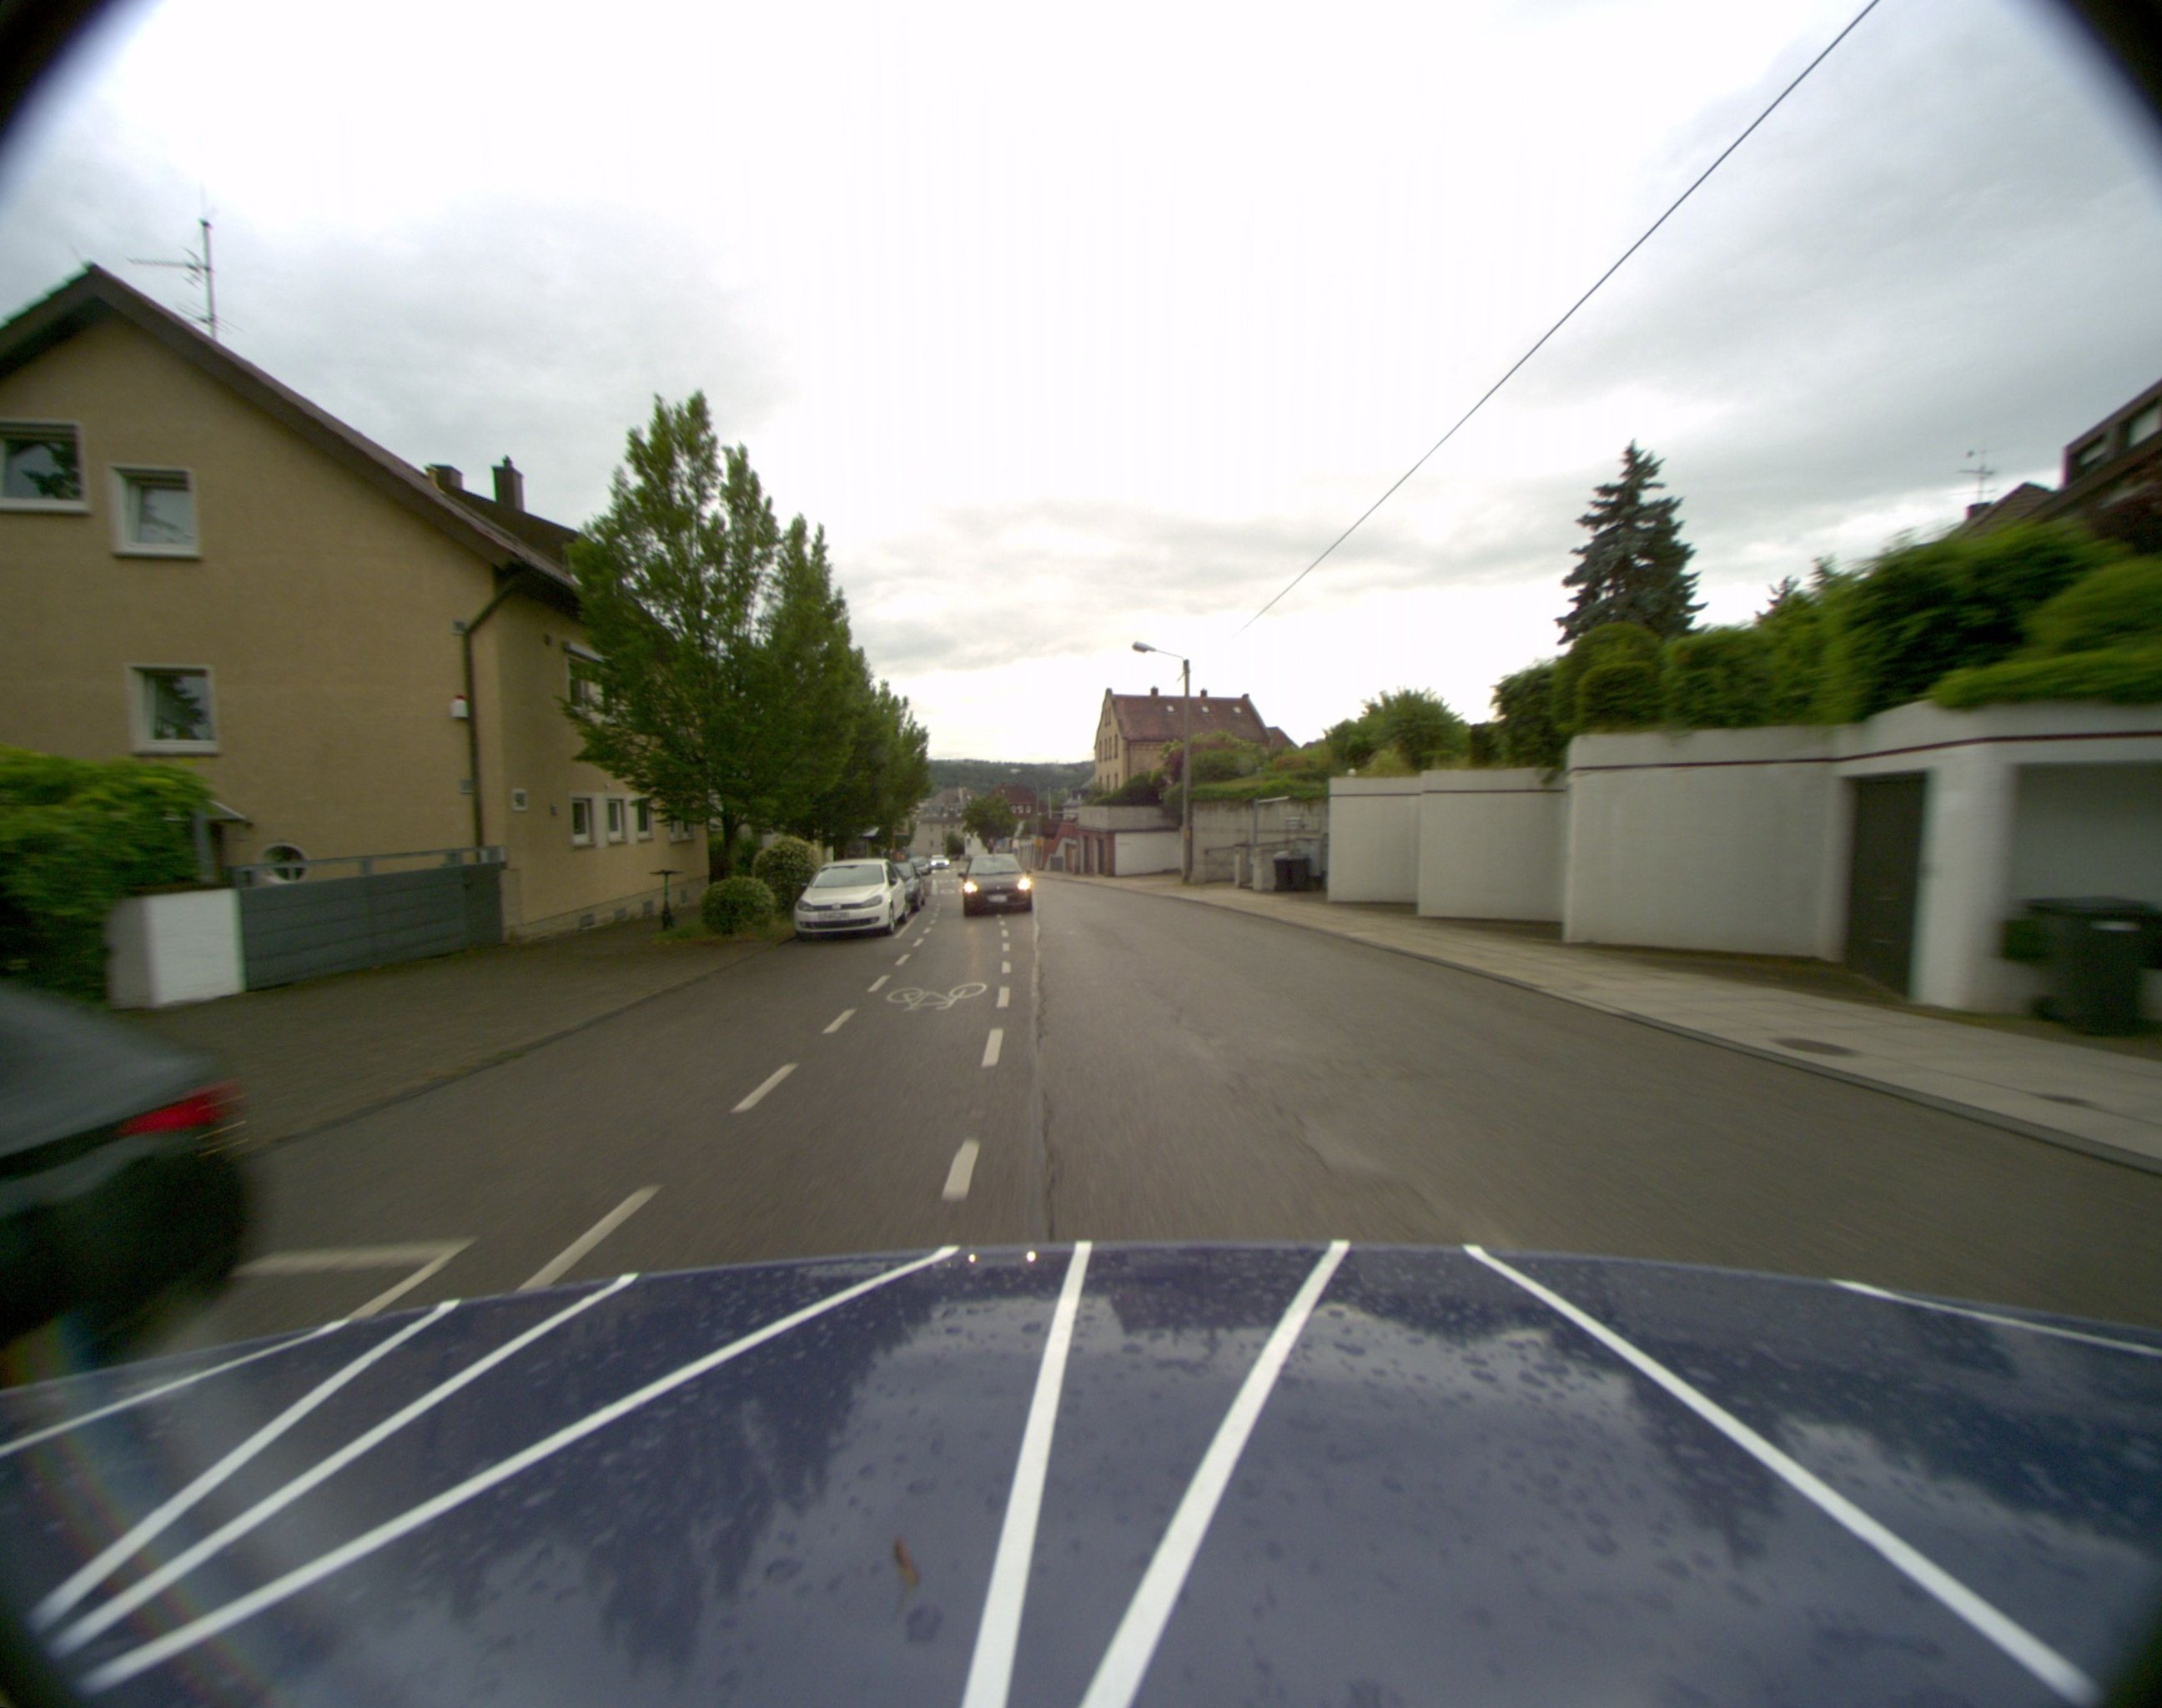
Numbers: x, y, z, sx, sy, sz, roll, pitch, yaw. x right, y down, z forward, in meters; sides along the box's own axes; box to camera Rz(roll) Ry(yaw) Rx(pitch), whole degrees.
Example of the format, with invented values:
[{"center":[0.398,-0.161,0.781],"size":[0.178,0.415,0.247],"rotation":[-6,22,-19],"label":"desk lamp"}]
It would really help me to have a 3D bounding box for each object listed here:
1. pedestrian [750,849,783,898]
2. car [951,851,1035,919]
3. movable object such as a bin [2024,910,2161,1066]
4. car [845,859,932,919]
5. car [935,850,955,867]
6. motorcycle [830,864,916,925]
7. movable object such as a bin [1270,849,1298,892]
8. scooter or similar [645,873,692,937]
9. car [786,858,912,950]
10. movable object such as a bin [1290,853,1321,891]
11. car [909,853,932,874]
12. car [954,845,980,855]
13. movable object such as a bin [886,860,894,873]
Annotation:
[{"center":[-11.241,0.688,27.172],"size":[0.835,1.676,1.044],"rotation":[1,0,-9],"label":"pedestrian"},{"center":[-2.184,0.721,19.803],"size":[1.893,1.521,4.055],"rotation":[-2,0,-3],"label":"car"},{"center":[7.116,0.899,5.250],"size":[0.543,0.957,0.647],"rotation":[-1,1,29],"label":"movable object such as a bin"},{"center":[-5.400,0.914,21.855],"size":[1.884,1.408,4.464],"rotation":[-2,1,-8],"label":"car"},{"center":[-16.031,0.502,89.415],"size":[2.018,1.892,4.089],"rotation":[-2,1,-15],"label":"car"},{"center":[-5.053,0.973,18.614],"size":[1.920,1.322,0.787],"rotation":[-3,1,-12],"label":"motorcycle"},{"center":[5.588,0.441,20.874],"size":[0.527,1.140,0.602],"rotation":[-1,3,34],"label":"movable object such as a bin"},{"center":[-8.604,1.035,15.878],"size":[0.414,1.238,1.174],"rotation":[-1,1,-7],"label":"scooter or similar"},{"center":[-4.531,0.897,15.435],"size":[1.662,1.481,3.997],"rotation":[-3,1,-6],"label":"car"},{"center":[6.078,0.490,20.554],"size":[0.608,0.986,0.602],"rotation":[-2,2,34],"label":"movable object such as a bin"},{"center":[-13.091,0.751,62.054],"size":[1.735,1.598,4.115],"rotation":[-3,1,-12],"label":"car"},{"center":[-20.907,-0.731,139.724],"size":[4.229,1.663,1.873],"rotation":[-2,1,-32],"label":"car"},{"center":[-14.953,0.960,59.585],"size":[0.487,0.969,0.604],"rotation":[3,1,-4],"label":"movable object such as a bin"}]
